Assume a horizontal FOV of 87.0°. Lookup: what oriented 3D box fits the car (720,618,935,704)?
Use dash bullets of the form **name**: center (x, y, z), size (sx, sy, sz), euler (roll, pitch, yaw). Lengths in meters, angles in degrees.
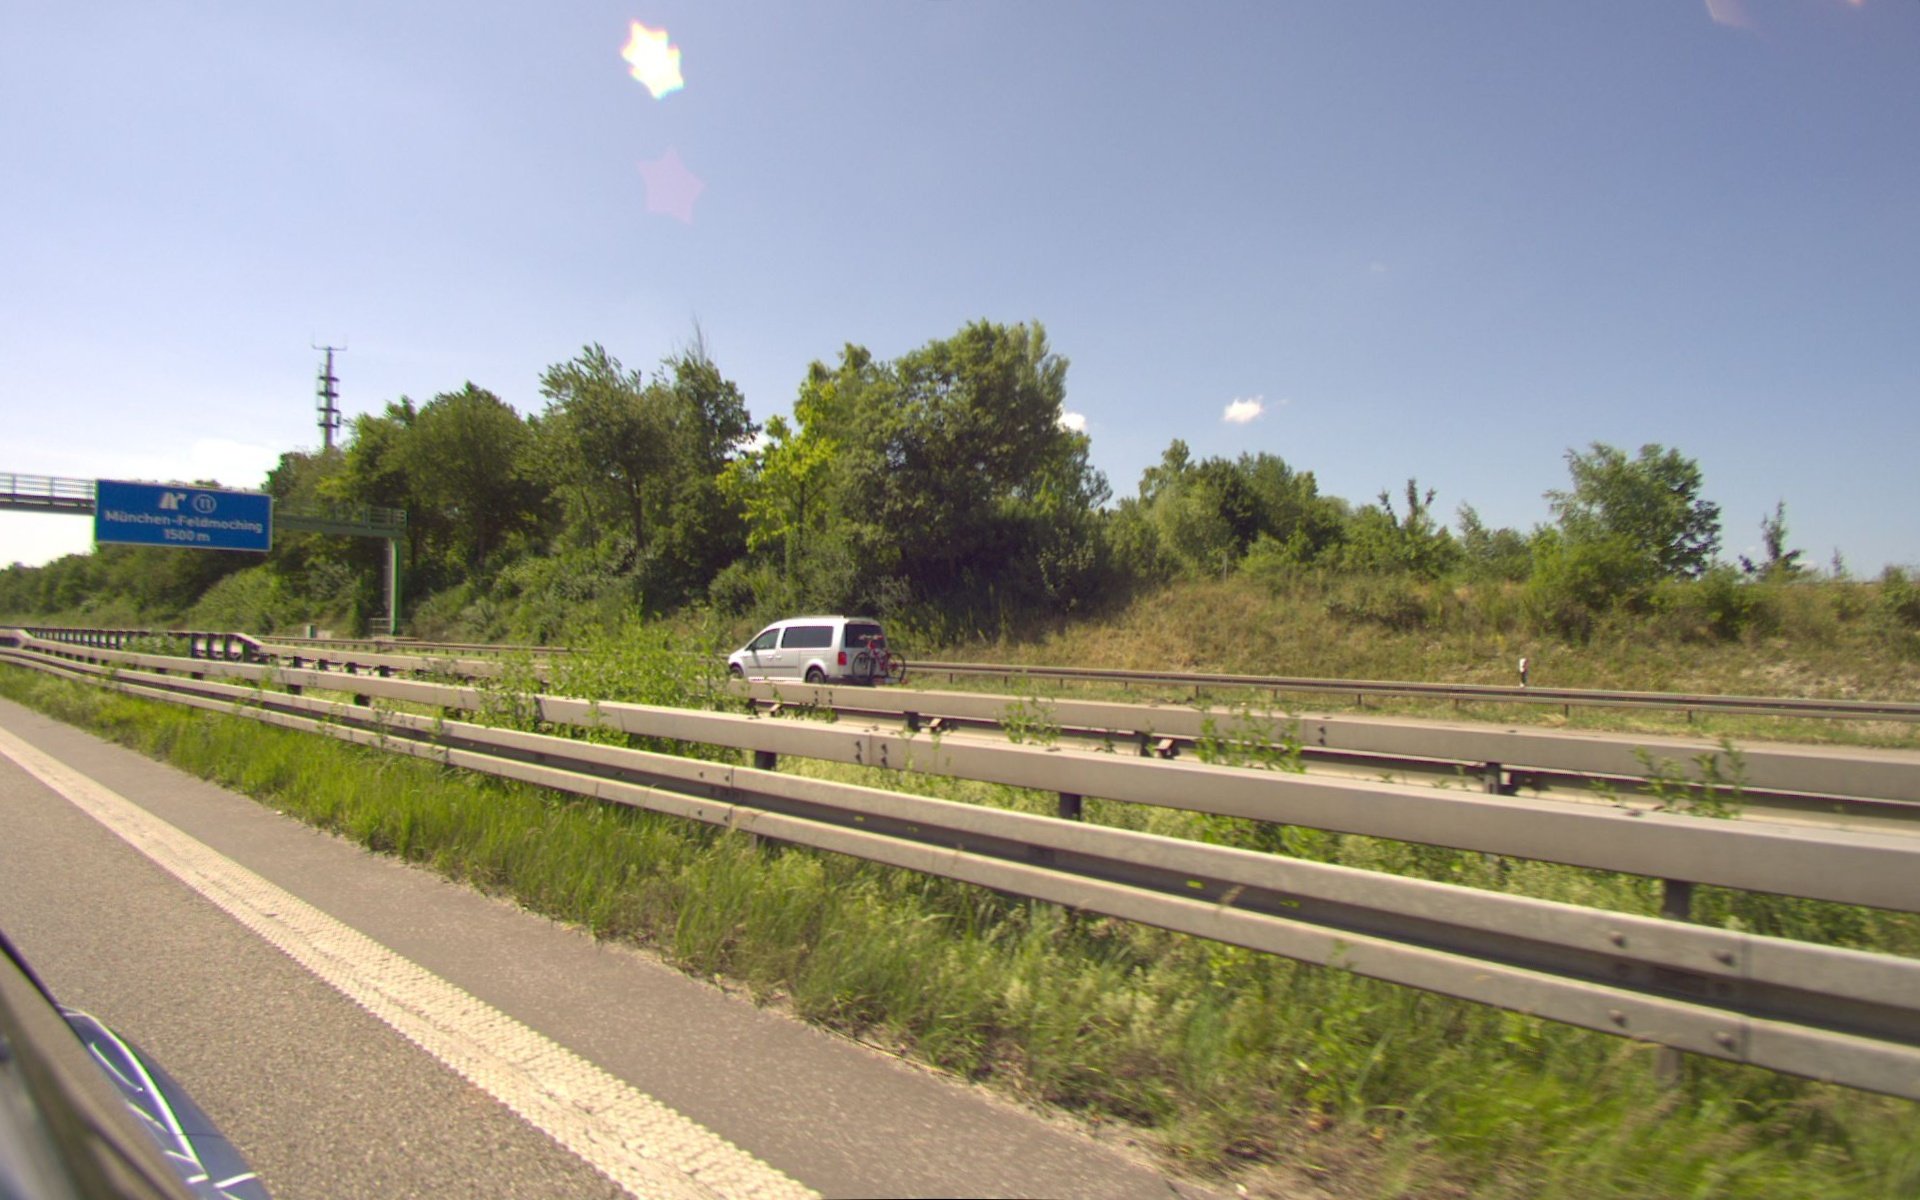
- **car**: center (-3.278, 1.413, 24.307), size (5.328, 1.849, 1.973), euler (-1, -4, 40)
